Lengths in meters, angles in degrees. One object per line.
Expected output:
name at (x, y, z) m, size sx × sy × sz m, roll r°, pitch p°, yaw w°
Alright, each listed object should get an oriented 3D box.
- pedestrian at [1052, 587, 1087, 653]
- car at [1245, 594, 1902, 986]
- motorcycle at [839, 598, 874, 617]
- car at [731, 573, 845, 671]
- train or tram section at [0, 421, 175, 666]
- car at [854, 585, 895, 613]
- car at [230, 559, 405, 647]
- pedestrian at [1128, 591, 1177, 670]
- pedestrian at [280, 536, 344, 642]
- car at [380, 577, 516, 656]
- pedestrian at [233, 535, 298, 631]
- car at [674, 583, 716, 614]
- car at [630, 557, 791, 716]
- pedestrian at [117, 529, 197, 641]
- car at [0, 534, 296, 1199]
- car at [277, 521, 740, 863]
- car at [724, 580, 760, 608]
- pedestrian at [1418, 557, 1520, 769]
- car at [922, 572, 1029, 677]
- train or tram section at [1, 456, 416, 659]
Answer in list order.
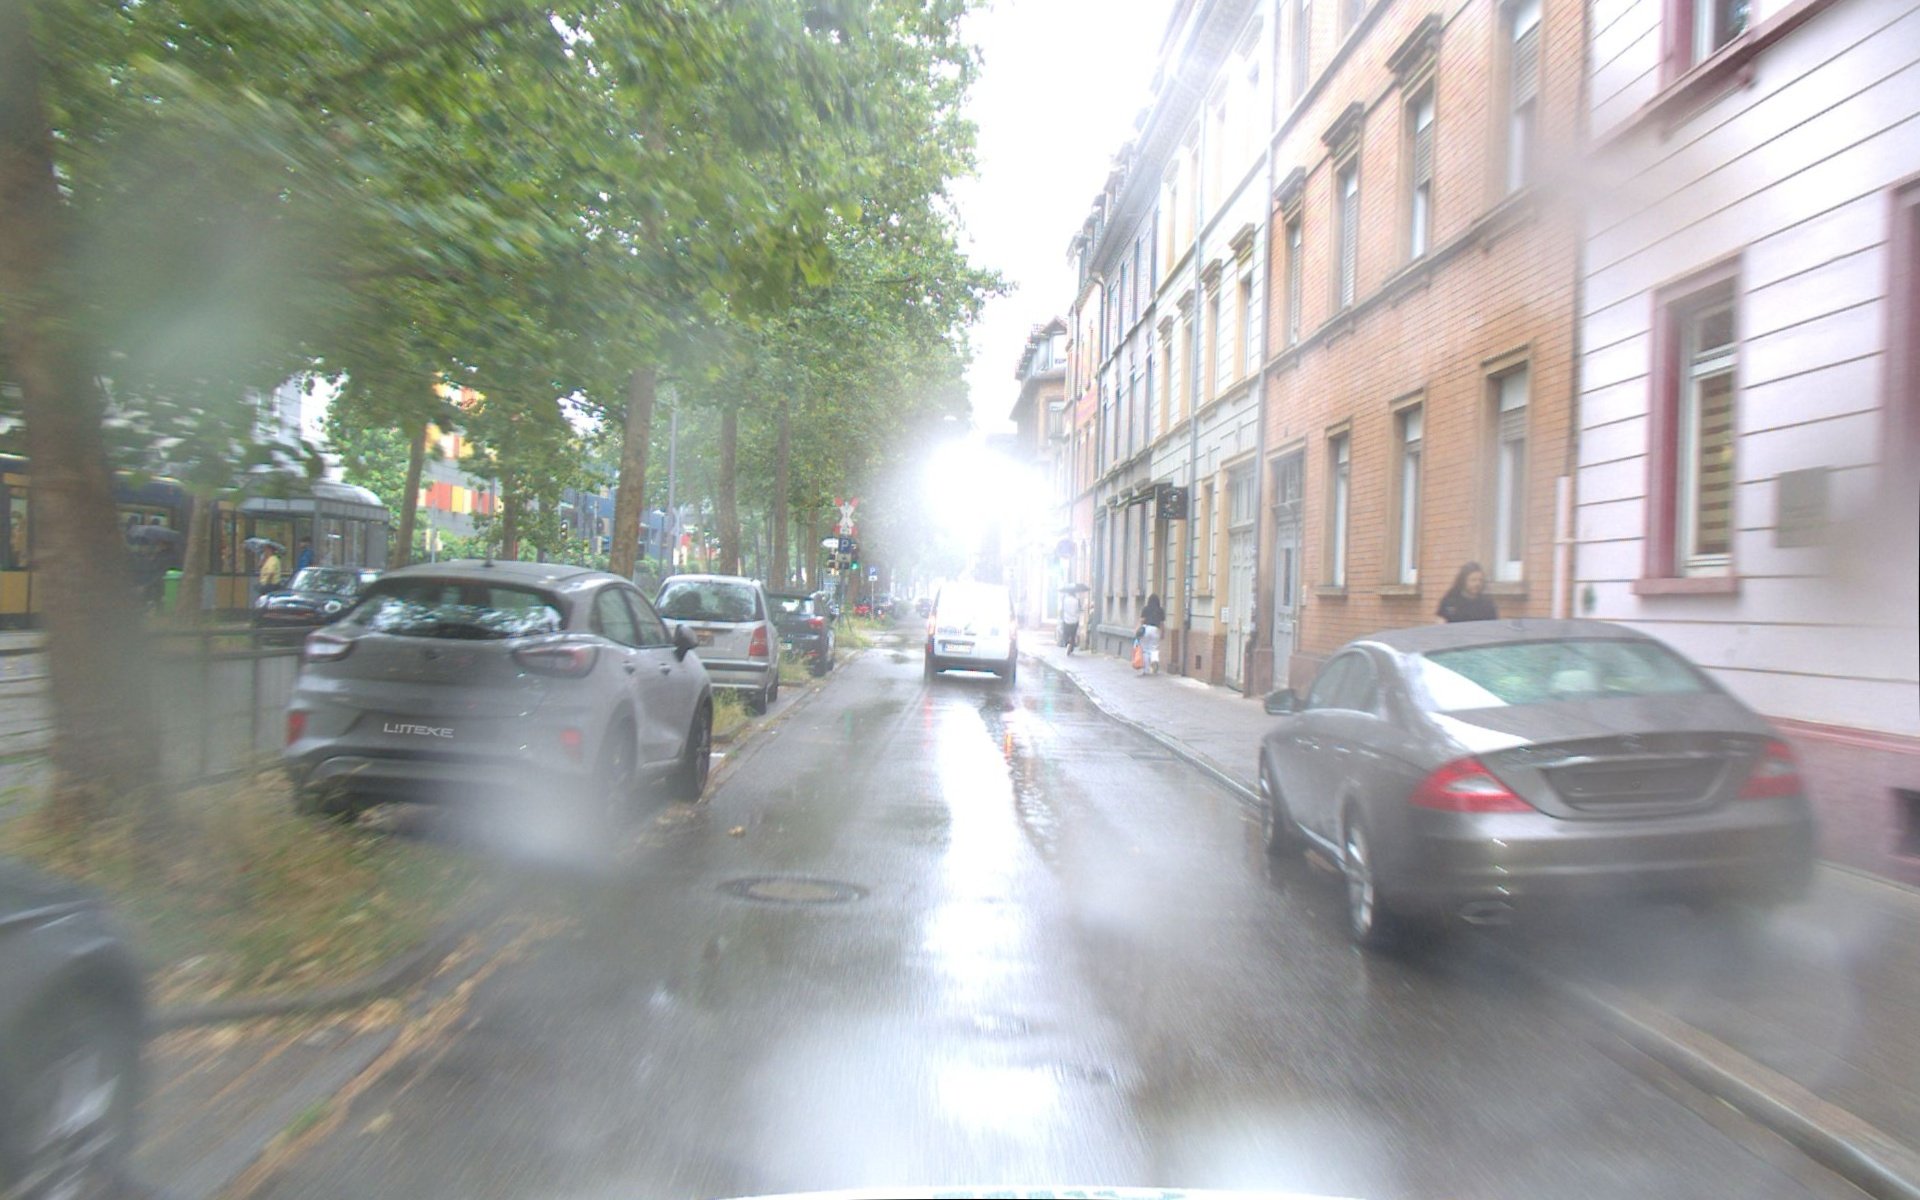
pedestrian at (2.954, 0.523, 44.609) m, size 0.823 × 1.746 × 1.107 m, roll -1°, pitch 0°, yaw -1°
car at (2.732, 0.727, 8.638) m, size 1.776 × 1.445 × 4.697 m, roll -1°, pitch 0°, yaw 2°
motorcycle at (-5.103, 0.376, 81.621) m, size 1.670 × 0.880 × 0.577 m, roll 2°, pitch 0°, yaw 4°
car at (-3.020, 0.370, 29.677) m, size 1.616 × 1.526 × 4.118 m, roll 4°, pitch 0°, yaw -1°
train or tram section at (-15.707, -0.915, 22.923) m, size 3.043 × 3.621 × 14.570 m, roll 2°, pitch -1°, yaw -2°
car at (-4.658, -0.058, 90.348) m, size 1.953 × 1.411 × 4.000 m, roll 2°, pitch 0°, yaw 0°
car at (-11.548, 0.041, 29.999) m, size 1.704 × 1.366 × 3.754 m, roll 5°, pitch 0°, yaw -2°
pedestrian at (3.823, 0.588, 32.908) m, size 0.823 × 1.538 × 1.107 m, roll -1°, pitch 0°, yaw -1°
pedestrian at (-12.956, -0.220, 33.089) m, size 0.851 × 2.049 × 0.821 m, roll 2°, pitch 0°, yaw 2°
car at (-11.691, 0.346, 38.034) m, size 1.953 × 1.641 × 3.998 m, roll 2°, pitch 0°, yaw -2°
pedestrian at (-12.903, -0.316, 30.749) m, size 0.801 × 1.733 × 0.872 m, roll 2°, pitch 0°, yaw -2°
car at (-13.243, -0.107, 82.883) m, size 1.956 × 1.440 × 3.993 m, roll 2°, pitch 0°, yaw -8°
car at (-2.984, 0.383, 20.390) m, size 1.592 × 1.711 × 3.657 m, roll 3°, pitch 1°, yaw -4°
pedestrian at (-12.795, -0.237, 26.371) m, size 0.801 × 1.733 × 0.872 m, roll 2°, pitch 0°, yaw -2°
car at (-2.453, 0.603, 1.618) m, size 1.792 × 1.530 × 4.612 m, roll 3°, pitch 0°, yaw -2°
car at (-2.552, 0.466, 10.475) m, size 1.664 × 1.664 × 4.355 m, roll 2°, pitch 0°, yaw 0°
car at (-13.296, -0.385, 100.610) m, size 1.957 × 1.608 × 3.991 m, roll 2°, pitch 0°, yaw -10°
pedestrian at (4.229, 0.512, 13.774) m, size 0.626 × 1.714 × 0.603 m, roll -1°, pitch 0°, yaw -2°
car at (0.260, 0.481, 31.962) m, size 1.865 × 1.829 × 4.112 m, roll 2°, pitch -1°, yaw -1°
train or tram section at (-16.135, -0.621, 37.558) m, size 3.043 × 3.621 × 14.668 m, roll 2°, pitch -1°, yaw -2°
